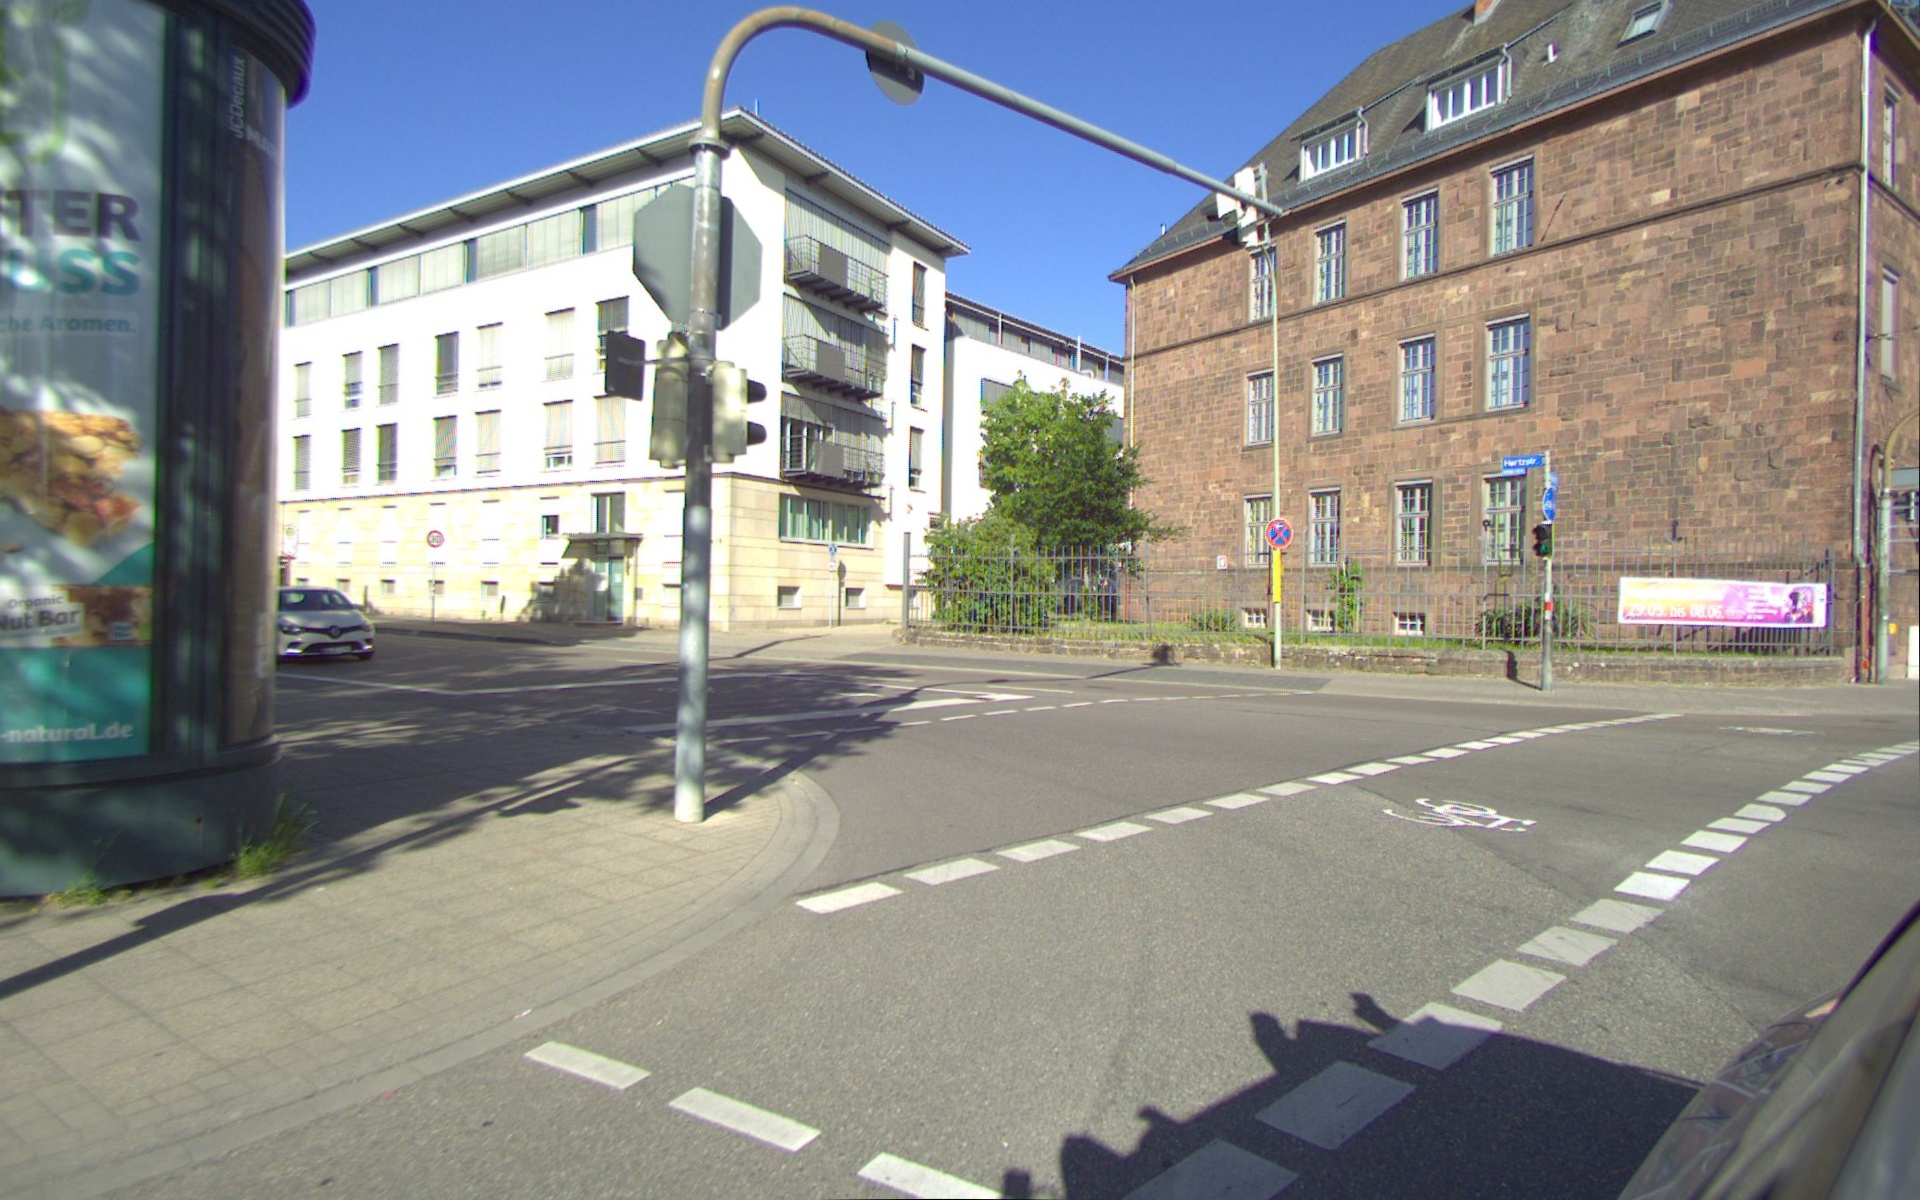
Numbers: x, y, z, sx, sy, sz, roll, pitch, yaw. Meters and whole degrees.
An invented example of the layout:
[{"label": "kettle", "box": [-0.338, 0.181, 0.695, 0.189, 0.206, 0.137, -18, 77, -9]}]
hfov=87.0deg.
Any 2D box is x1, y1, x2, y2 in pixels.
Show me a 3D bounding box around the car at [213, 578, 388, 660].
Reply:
[{"label": "car", "box": [-13.288, 0.316, 20.315, 3.978, 1.486, 1.775, 1, 1, 38]}]
